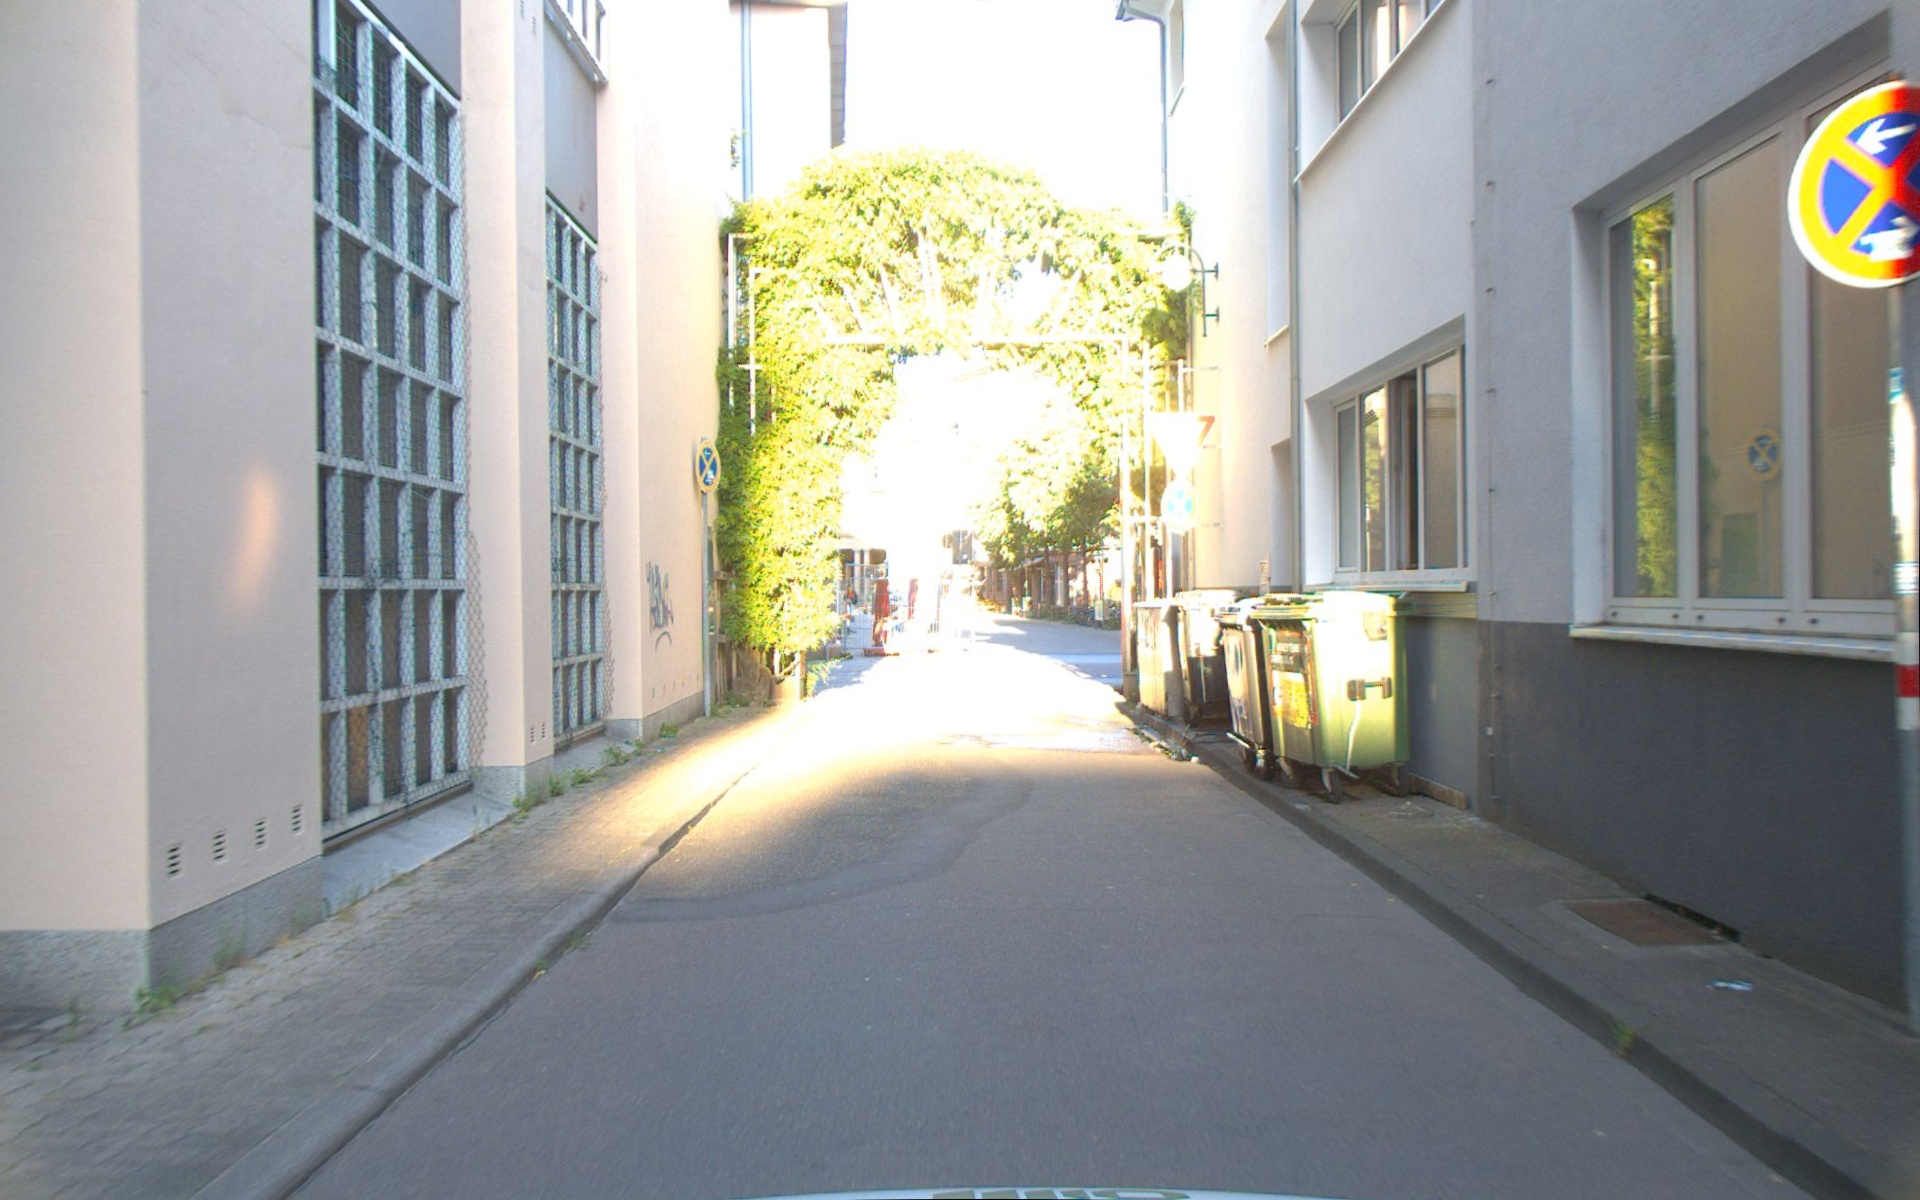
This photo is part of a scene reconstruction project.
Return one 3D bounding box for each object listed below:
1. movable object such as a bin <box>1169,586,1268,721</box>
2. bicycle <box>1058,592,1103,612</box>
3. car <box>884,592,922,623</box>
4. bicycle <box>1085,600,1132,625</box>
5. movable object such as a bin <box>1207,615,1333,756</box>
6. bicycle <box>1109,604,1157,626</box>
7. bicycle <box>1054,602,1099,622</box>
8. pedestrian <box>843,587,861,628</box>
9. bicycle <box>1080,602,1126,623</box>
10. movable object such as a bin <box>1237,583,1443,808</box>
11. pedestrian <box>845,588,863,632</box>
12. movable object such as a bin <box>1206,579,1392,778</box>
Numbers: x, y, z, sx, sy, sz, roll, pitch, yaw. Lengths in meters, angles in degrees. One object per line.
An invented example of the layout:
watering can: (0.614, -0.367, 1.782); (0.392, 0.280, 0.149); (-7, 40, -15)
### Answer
movable object such as a bin: (2.695, 0.537, 17.367); (0.818, 1.327, 1.290); (-3, 0, 2)
bicycle: (5.900, 0.101, 81.340); (2.113, 0.942, 0.589); (-1, -1, -10)
car: (-3.232, 0.430, 93.315); (1.807, 1.713, 3.639); (-1, 0, -7)
bicycle: (6.949, 0.591, 77.204); (2.107, 1.080, 0.591); (-2, -1, 12)
movable object such as a bin: (2.603, 0.704, 13.942); (0.851, 1.093, 0.738); (-3, 0, -2)
bicycle: (7.871, 0.677, 75.168); (2.119, 0.942, 0.588); (-1, -1, -17)
bicycle: (5.669, 0.586, 80.434); (2.113, 0.942, 0.589); (-1, -1, -10)
pedestrian: (-4.474, 0.318, 68.301); (0.640, 1.680, 0.634); (-1, 0, 3)
bicycle: (6.894, 0.603, 79.716); (2.113, 0.942, 0.589); (-1, -1, -10)
movable object such as a bin: (2.558, 0.613, 11.309); (0.919, 1.390, 1.340); (-3, 0, -7)
pedestrian: (-4.343, 0.397, 67.626); (0.640, 1.795, 0.634); (-1, 0, 3)
movable object such as a bin: (2.569, 0.565, 12.714); (1.043, 1.390, 1.341); (-3, 0, -3)
